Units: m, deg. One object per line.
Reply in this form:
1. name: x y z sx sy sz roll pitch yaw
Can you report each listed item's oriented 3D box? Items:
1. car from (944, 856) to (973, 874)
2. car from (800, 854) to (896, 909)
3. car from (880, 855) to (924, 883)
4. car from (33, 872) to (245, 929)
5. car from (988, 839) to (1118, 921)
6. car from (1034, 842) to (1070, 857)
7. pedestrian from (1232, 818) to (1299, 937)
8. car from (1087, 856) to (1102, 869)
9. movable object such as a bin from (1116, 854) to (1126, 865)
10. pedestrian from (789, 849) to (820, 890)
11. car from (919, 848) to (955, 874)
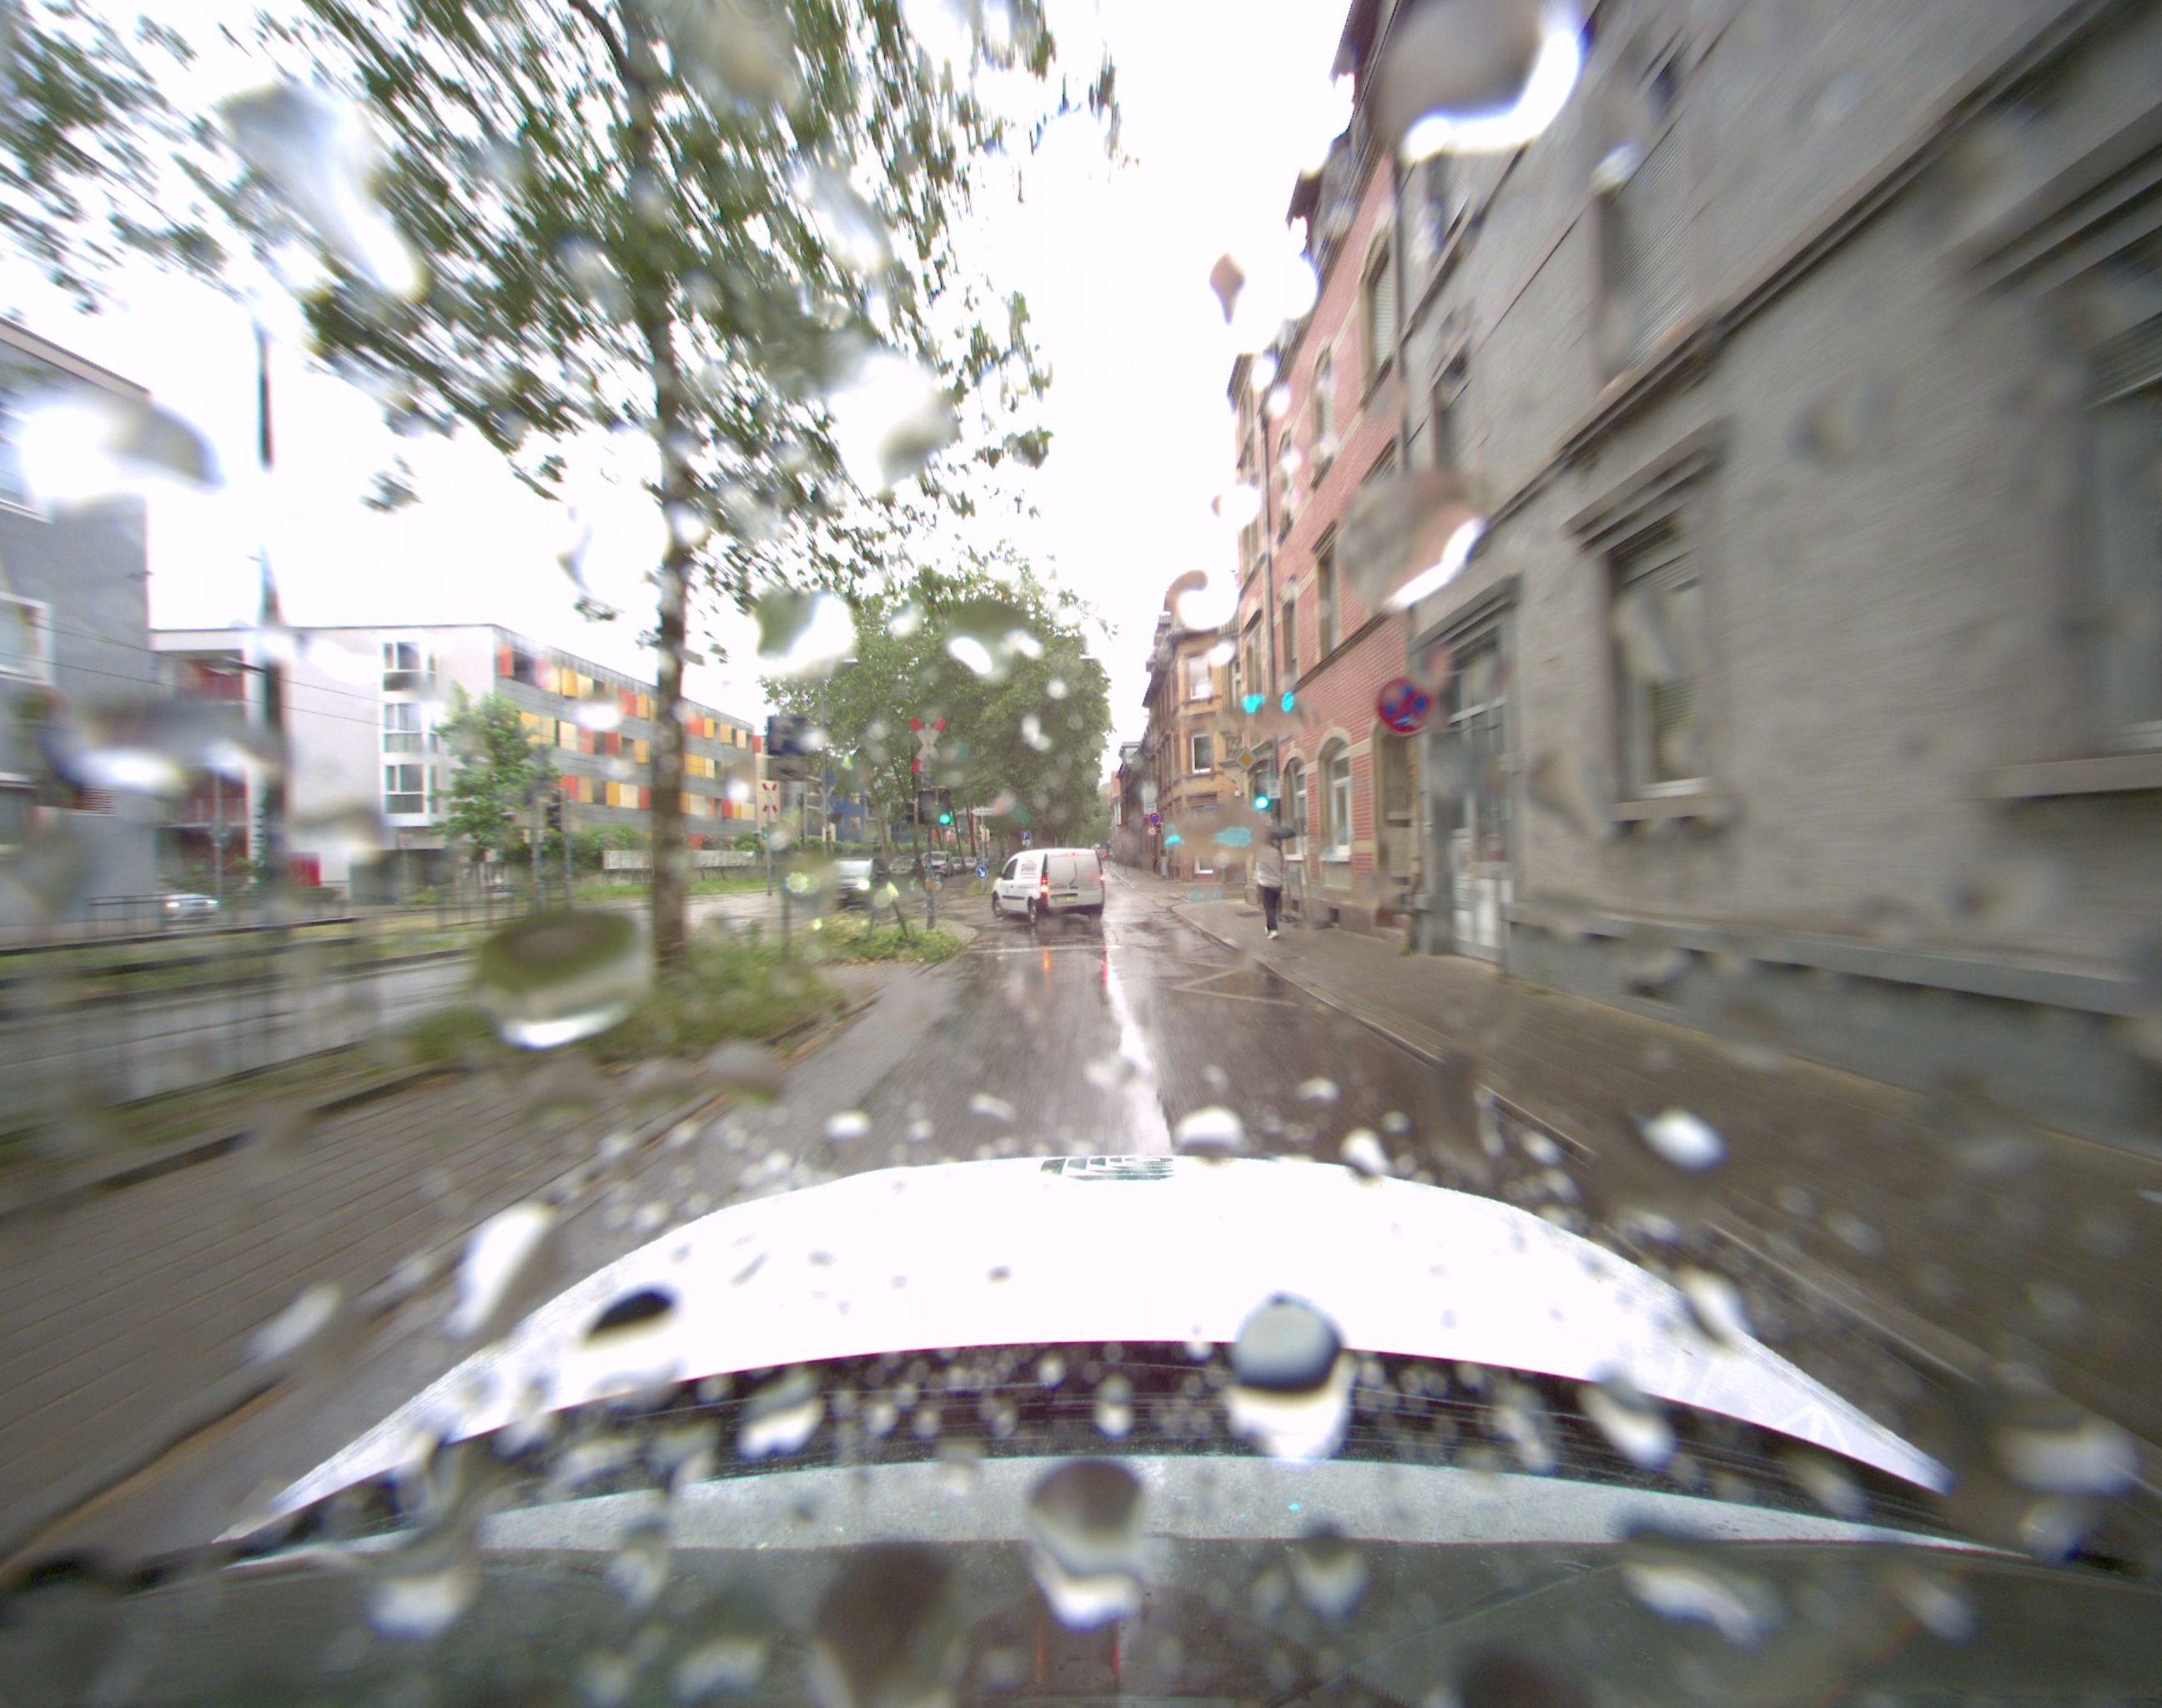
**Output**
1. car: -10.765 0.956 71.758 1.898 1.534 4.214 -1 0 -1
2. car: -7.587 0.832 27.015 2.052 1.618 4.667 -1 0 -4
3. car: -11.588 0.952 53.033 1.867 1.728 4.001 0 -1 1
4. car: -28.521 1.381 24.764 4.068 1.528 1.886 -1 0 -3
5. car: -0.837 0.602 20.729 1.941 1.849 4.034 -1 0 -24
6. car: -4.519 -0.654 125.145 5.065 1.977 2.116 -3 -1 31
7. pedestrian: 3.154 0.391 13.993 0.782 1.913 0.929 -5 -1 0
8. car: 1.751 1.137 109.133 1.987 1.640 4.000 0 -1 0
9. movable object such as a bin: 4.957 0.677 100.325 1.018 1.301 1.367 -5 0 0
10. pedestrian: -12.383 0.695 36.519 0.932 1.800 1.206 -1 -1 0
11. car: -11.242 0.519 63.892 2.049 1.997 5.428 1 0 -3
